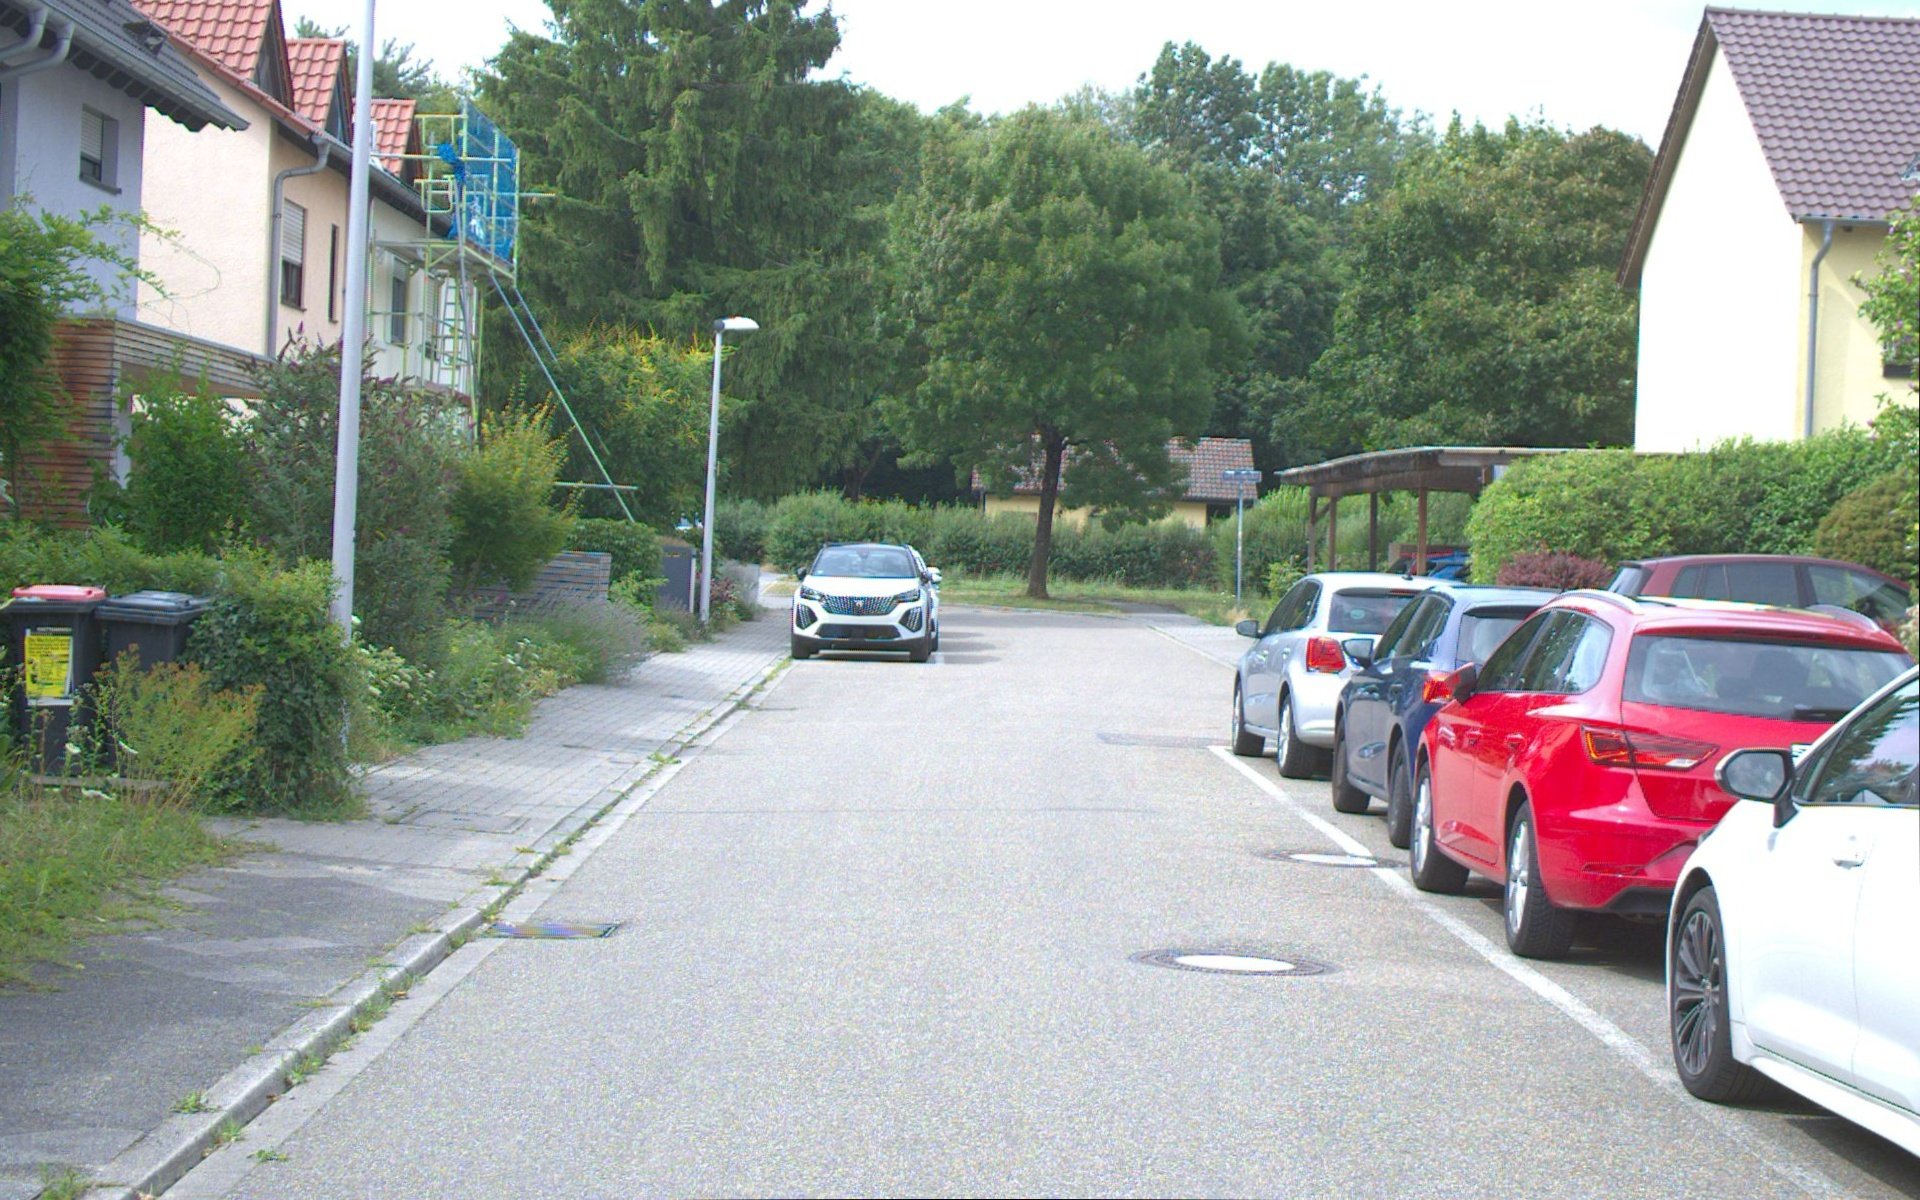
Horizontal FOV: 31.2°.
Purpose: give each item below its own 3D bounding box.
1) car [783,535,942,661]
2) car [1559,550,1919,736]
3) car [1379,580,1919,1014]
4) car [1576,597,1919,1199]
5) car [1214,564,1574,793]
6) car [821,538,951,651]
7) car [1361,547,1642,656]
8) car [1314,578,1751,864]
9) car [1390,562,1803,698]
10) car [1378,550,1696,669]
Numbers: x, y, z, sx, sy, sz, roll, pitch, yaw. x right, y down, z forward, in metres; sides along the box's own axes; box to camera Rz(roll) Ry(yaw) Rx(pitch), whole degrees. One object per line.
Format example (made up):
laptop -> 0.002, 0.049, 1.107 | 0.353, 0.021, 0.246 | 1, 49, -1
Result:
car -> -1.254, -0.071, 46.074 | 1.934, 1.551, 4.634 | 2, 1, 0
car -> 7.710, 0.376, 30.945 | 4.270, 1.555, 1.935 | 1, 1, 1
car -> 3.034, 0.712, 14.823 | 1.773, 1.431, 4.826 | 4, 1, 0
car -> 3.042, 0.769, 8.808 | 1.838, 1.408, 4.637 | 2, 1, -3
car -> 3.067, 0.505, 25.155 | 1.864, 1.412, 4.253 | 2, 1, -2
car -> -1.078, -0.125, 51.472 | 1.810, 1.557, 4.848 | 2, 1, 0
car -> 8.363, 0.014, 53.309 | 3.956, 1.535, 1.839 | 2, 1, -3
car -> 3.135, 0.603, 19.656 | 1.773, 1.351, 4.265 | 2, 1, 0
car -> 7.506, 0.342, 40.853 | 4.449, 1.428, 2.027 | 2, 1, -2
car -> 8.077, 0.113, 48.389 | 4.045, 1.517, 1.951 | 2, 1, -3
